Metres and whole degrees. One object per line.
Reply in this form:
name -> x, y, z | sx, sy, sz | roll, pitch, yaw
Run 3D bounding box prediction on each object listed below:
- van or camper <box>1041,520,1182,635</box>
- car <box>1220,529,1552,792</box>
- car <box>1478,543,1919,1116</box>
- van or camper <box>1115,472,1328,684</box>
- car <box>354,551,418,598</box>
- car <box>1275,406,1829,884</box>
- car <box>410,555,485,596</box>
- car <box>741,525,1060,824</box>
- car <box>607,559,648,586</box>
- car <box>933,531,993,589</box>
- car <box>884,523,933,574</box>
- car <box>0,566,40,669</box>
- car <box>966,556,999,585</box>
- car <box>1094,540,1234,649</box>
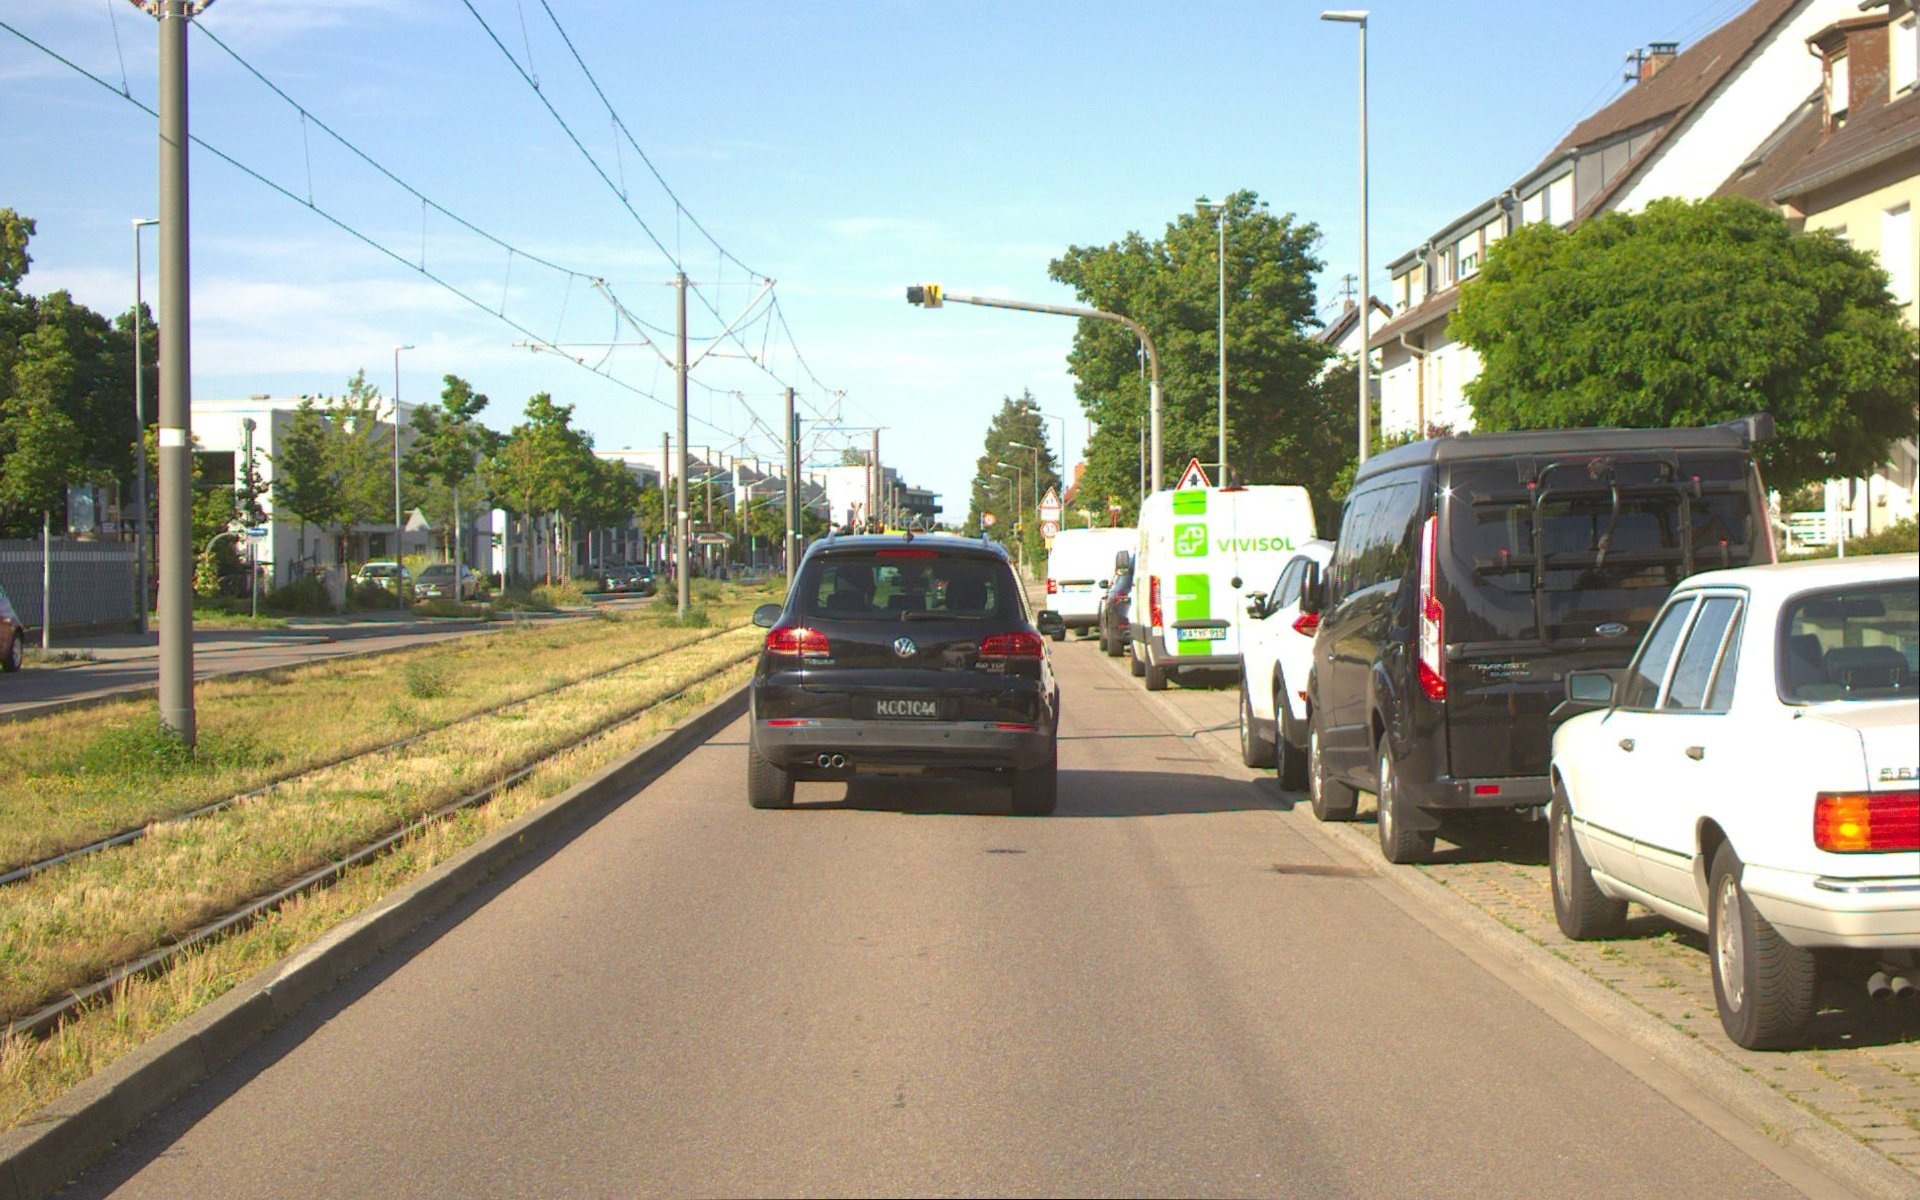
van or camper -> 2.769, -0.439, 61.689 | 2.028, 1.949, 5.293 | -1, 1, 8
car -> 2.883, 0.361, 24.119 | 1.725, 1.640, 4.319 | -1, 1, 0
car -> 3.135, 0.567, 11.954 | 1.852, 1.439, 5.613 | -2, 1, 1
van or camper -> 3.017, -0.271, 40.914 | 1.993, 2.263, 6.305 | -2, 1, 0
car -> -19.044, -0.853, 114.153 | 1.544, 1.486, 3.775 | 1, 1, -1
car -> 2.954, 0.173, 18.396 | 1.960, 2.137, 5.336 | -1, 1, 0
car -> -18.909, -0.894, 127.098 | 1.811, 1.456, 4.317 | 1, 1, 4
car -> -0.407, 0.403, 21.485 | 1.775, 1.664, 4.000 | 1, 1, -2
car -> -18.373, -1.519, 189.971 | 1.688, 1.384, 4.388 | -2, 1, 2
car -> 0.072, -1.325, 112.798 | 1.627, 1.822, 4.131 | -1, 1, -4
car -> -2.587, -2.610, 174.348 | 2.394, 2.556, 5.530 | 0, 1, 0
car -> -14.049, 0.254, 47.218 | 1.695, 1.400, 4.079 | -1, 1, 0
car -> 1.329, -1.773, 204.779 | 1.775, 1.664, 4.000 | 0, 1, -2
car -> 2.992, -0.109, 51.312 | 1.748, 1.489, 5.155 | -2, 1, 0
